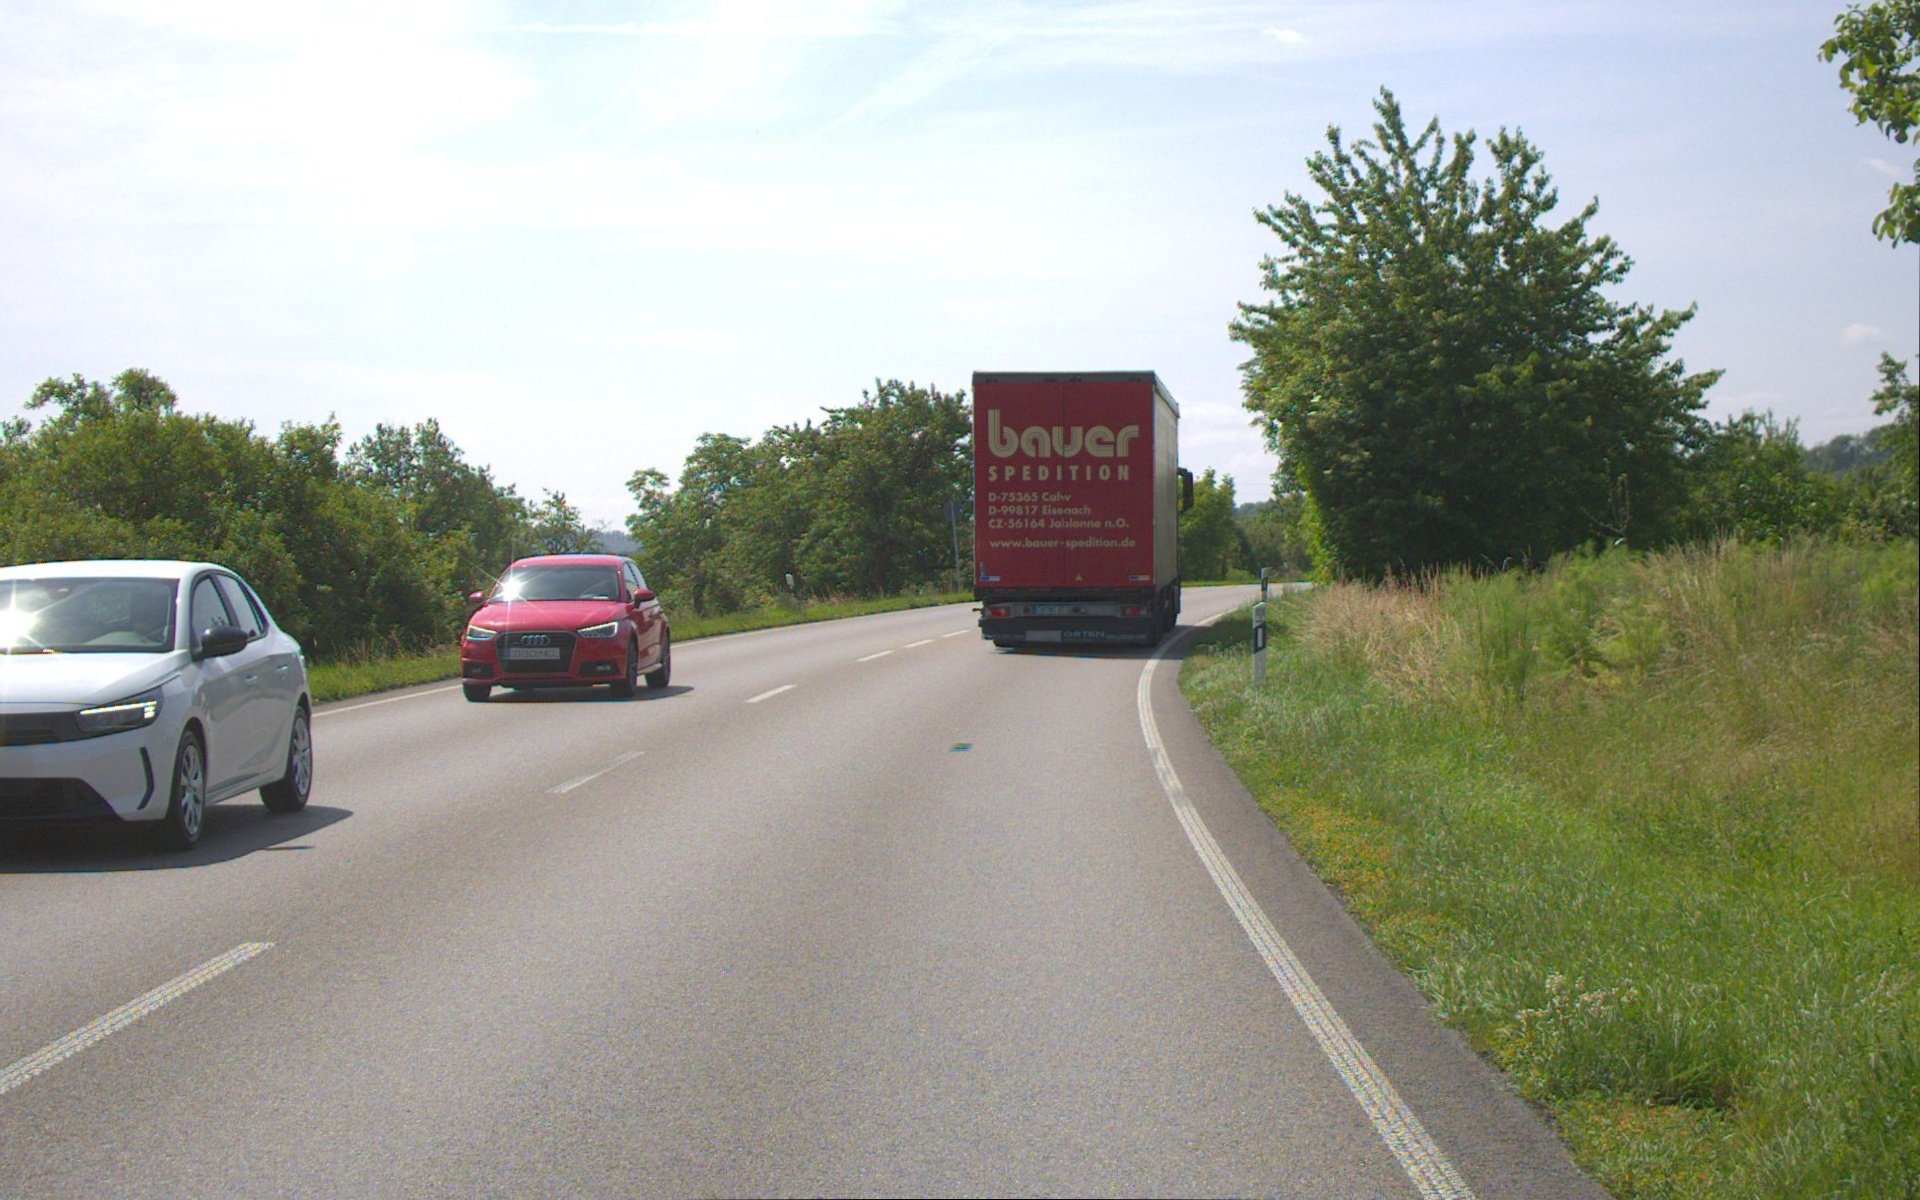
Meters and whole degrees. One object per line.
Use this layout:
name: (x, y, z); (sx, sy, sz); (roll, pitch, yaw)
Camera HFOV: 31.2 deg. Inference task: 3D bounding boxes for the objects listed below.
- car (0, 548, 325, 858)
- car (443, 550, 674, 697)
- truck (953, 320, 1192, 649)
car: (-4.610, 0.471, 18.067); (1.750, 1.409, 3.773); (-2, 1, 1)
car: (-4.057, 0.194, 35.321); (1.820, 1.393, 4.183); (0, 1, 1)
truck: (1.948, -1.608, 53.405); (3.113, 4.490, 12.165); (1, 0, 4)
